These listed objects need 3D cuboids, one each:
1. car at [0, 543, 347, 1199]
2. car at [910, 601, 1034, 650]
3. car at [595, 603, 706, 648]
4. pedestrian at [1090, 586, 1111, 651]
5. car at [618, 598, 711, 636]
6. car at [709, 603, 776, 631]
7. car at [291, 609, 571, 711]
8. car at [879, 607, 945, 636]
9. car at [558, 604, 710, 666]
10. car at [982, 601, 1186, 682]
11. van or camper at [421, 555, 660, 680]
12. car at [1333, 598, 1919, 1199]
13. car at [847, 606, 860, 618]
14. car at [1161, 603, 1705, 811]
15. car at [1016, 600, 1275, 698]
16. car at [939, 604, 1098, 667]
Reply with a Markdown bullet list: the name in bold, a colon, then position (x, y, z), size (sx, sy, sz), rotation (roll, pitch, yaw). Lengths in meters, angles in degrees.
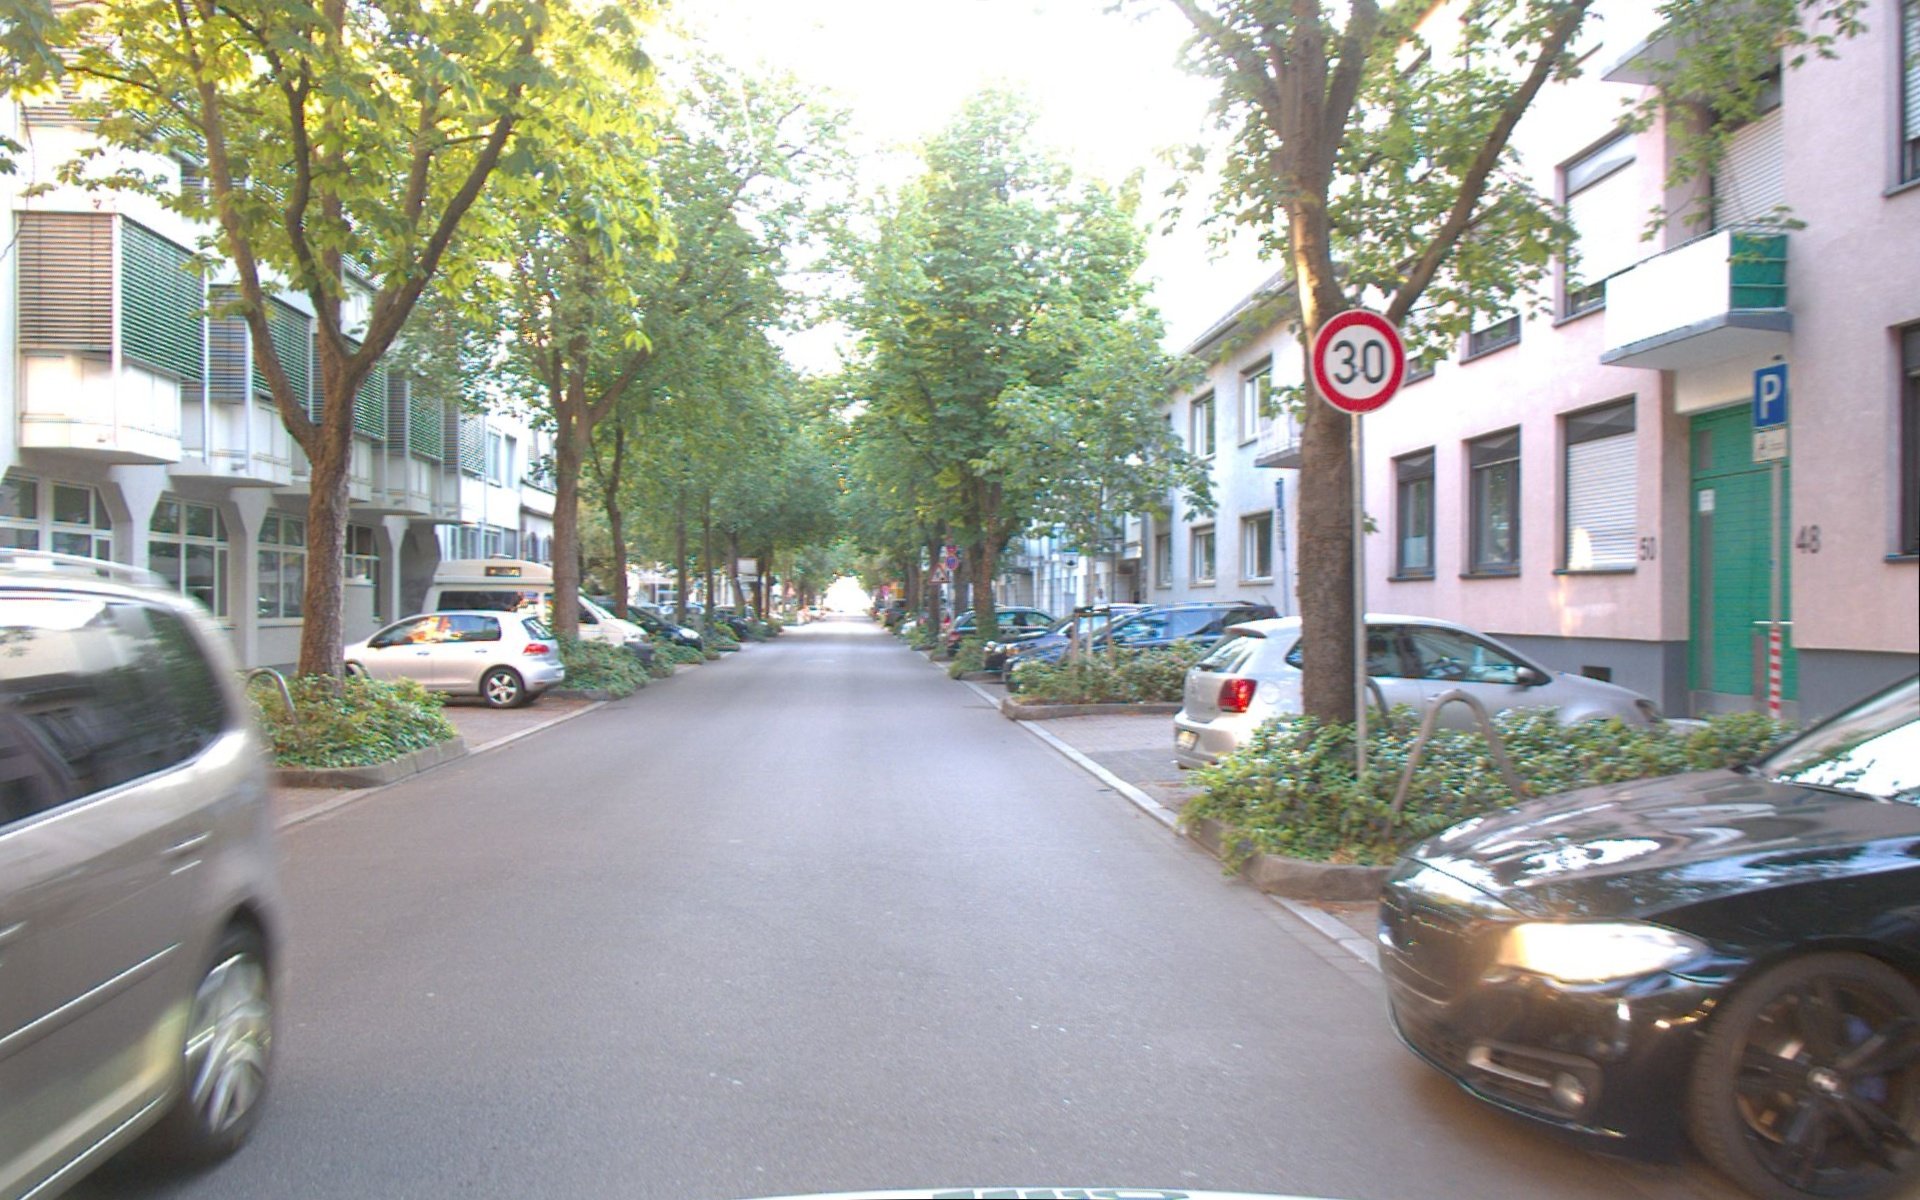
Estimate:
- **car**: position (-2.706, 0.688, 3.116), size (1.744, 1.589, 4.165), rotation (0, 0, -3)
- **car**: position (0.361, 0.811, 54.085), size (3.891, 1.554, 1.783), rotation (0, 0, -6)
- **car**: position (-11.609, 0.963, 62.248), size (3.888, 1.647, 1.784), rotation (0, 0, -3)
- **pedestrian**: position (4.462, 0.574, 52.429), size (0.577, 2.049, 0.669), rotation (0, 0, -3)
- **car**: position (-13.167, 0.759, 73.915), size (3.888, 1.647, 1.784), rotation (0, 0, -3)
- **car**: position (-13.093, 1.042, 99.677), size (3.888, 1.647, 1.784), rotation (0, 0, -3)
- **car**: position (-8.328, 0.922, 26.306), size (3.889, 1.544, 1.784), rotation (0, 0, -3)
- **car**: position (-2.882, 1.269, 98.209), size (3.888, 1.714, 1.784), rotation (0, 0, -3)
- **car**: position (-8.950, 0.952, 45.657), size (3.889, 1.647, 1.784), rotation (0, 0, -3)
- **car**: position (2.451, 0.806, 33.302), size (3.890, 1.554, 1.783), rotation (0, 0, -5)
- **van or camper**: position (-8.705, 0.355, 34.650), size (4.572, 2.522, 1.998), rotation (0, 0, -4)
- **car**: position (3.687, 0.745, 5.083), size (4.651, 1.506, 1.799), rotation (0, 0, -4)
- **car**: position (-15.383, 1.737, 239.213), size (1.786, 1.557, 3.997), rotation (1, -1, -3)
- **car**: position (3.659, 0.784, 13.155), size (3.833, 1.502, 1.663), rotation (0, 0, -6)
- **car**: position (2.947, 0.765, 26.790), size (3.891, 1.502, 1.783), rotation (0, 0, -6)
- **car**: position (1.461, 0.887, 42.161), size (3.890, 1.554, 1.783), rotation (0, 0, -5)
